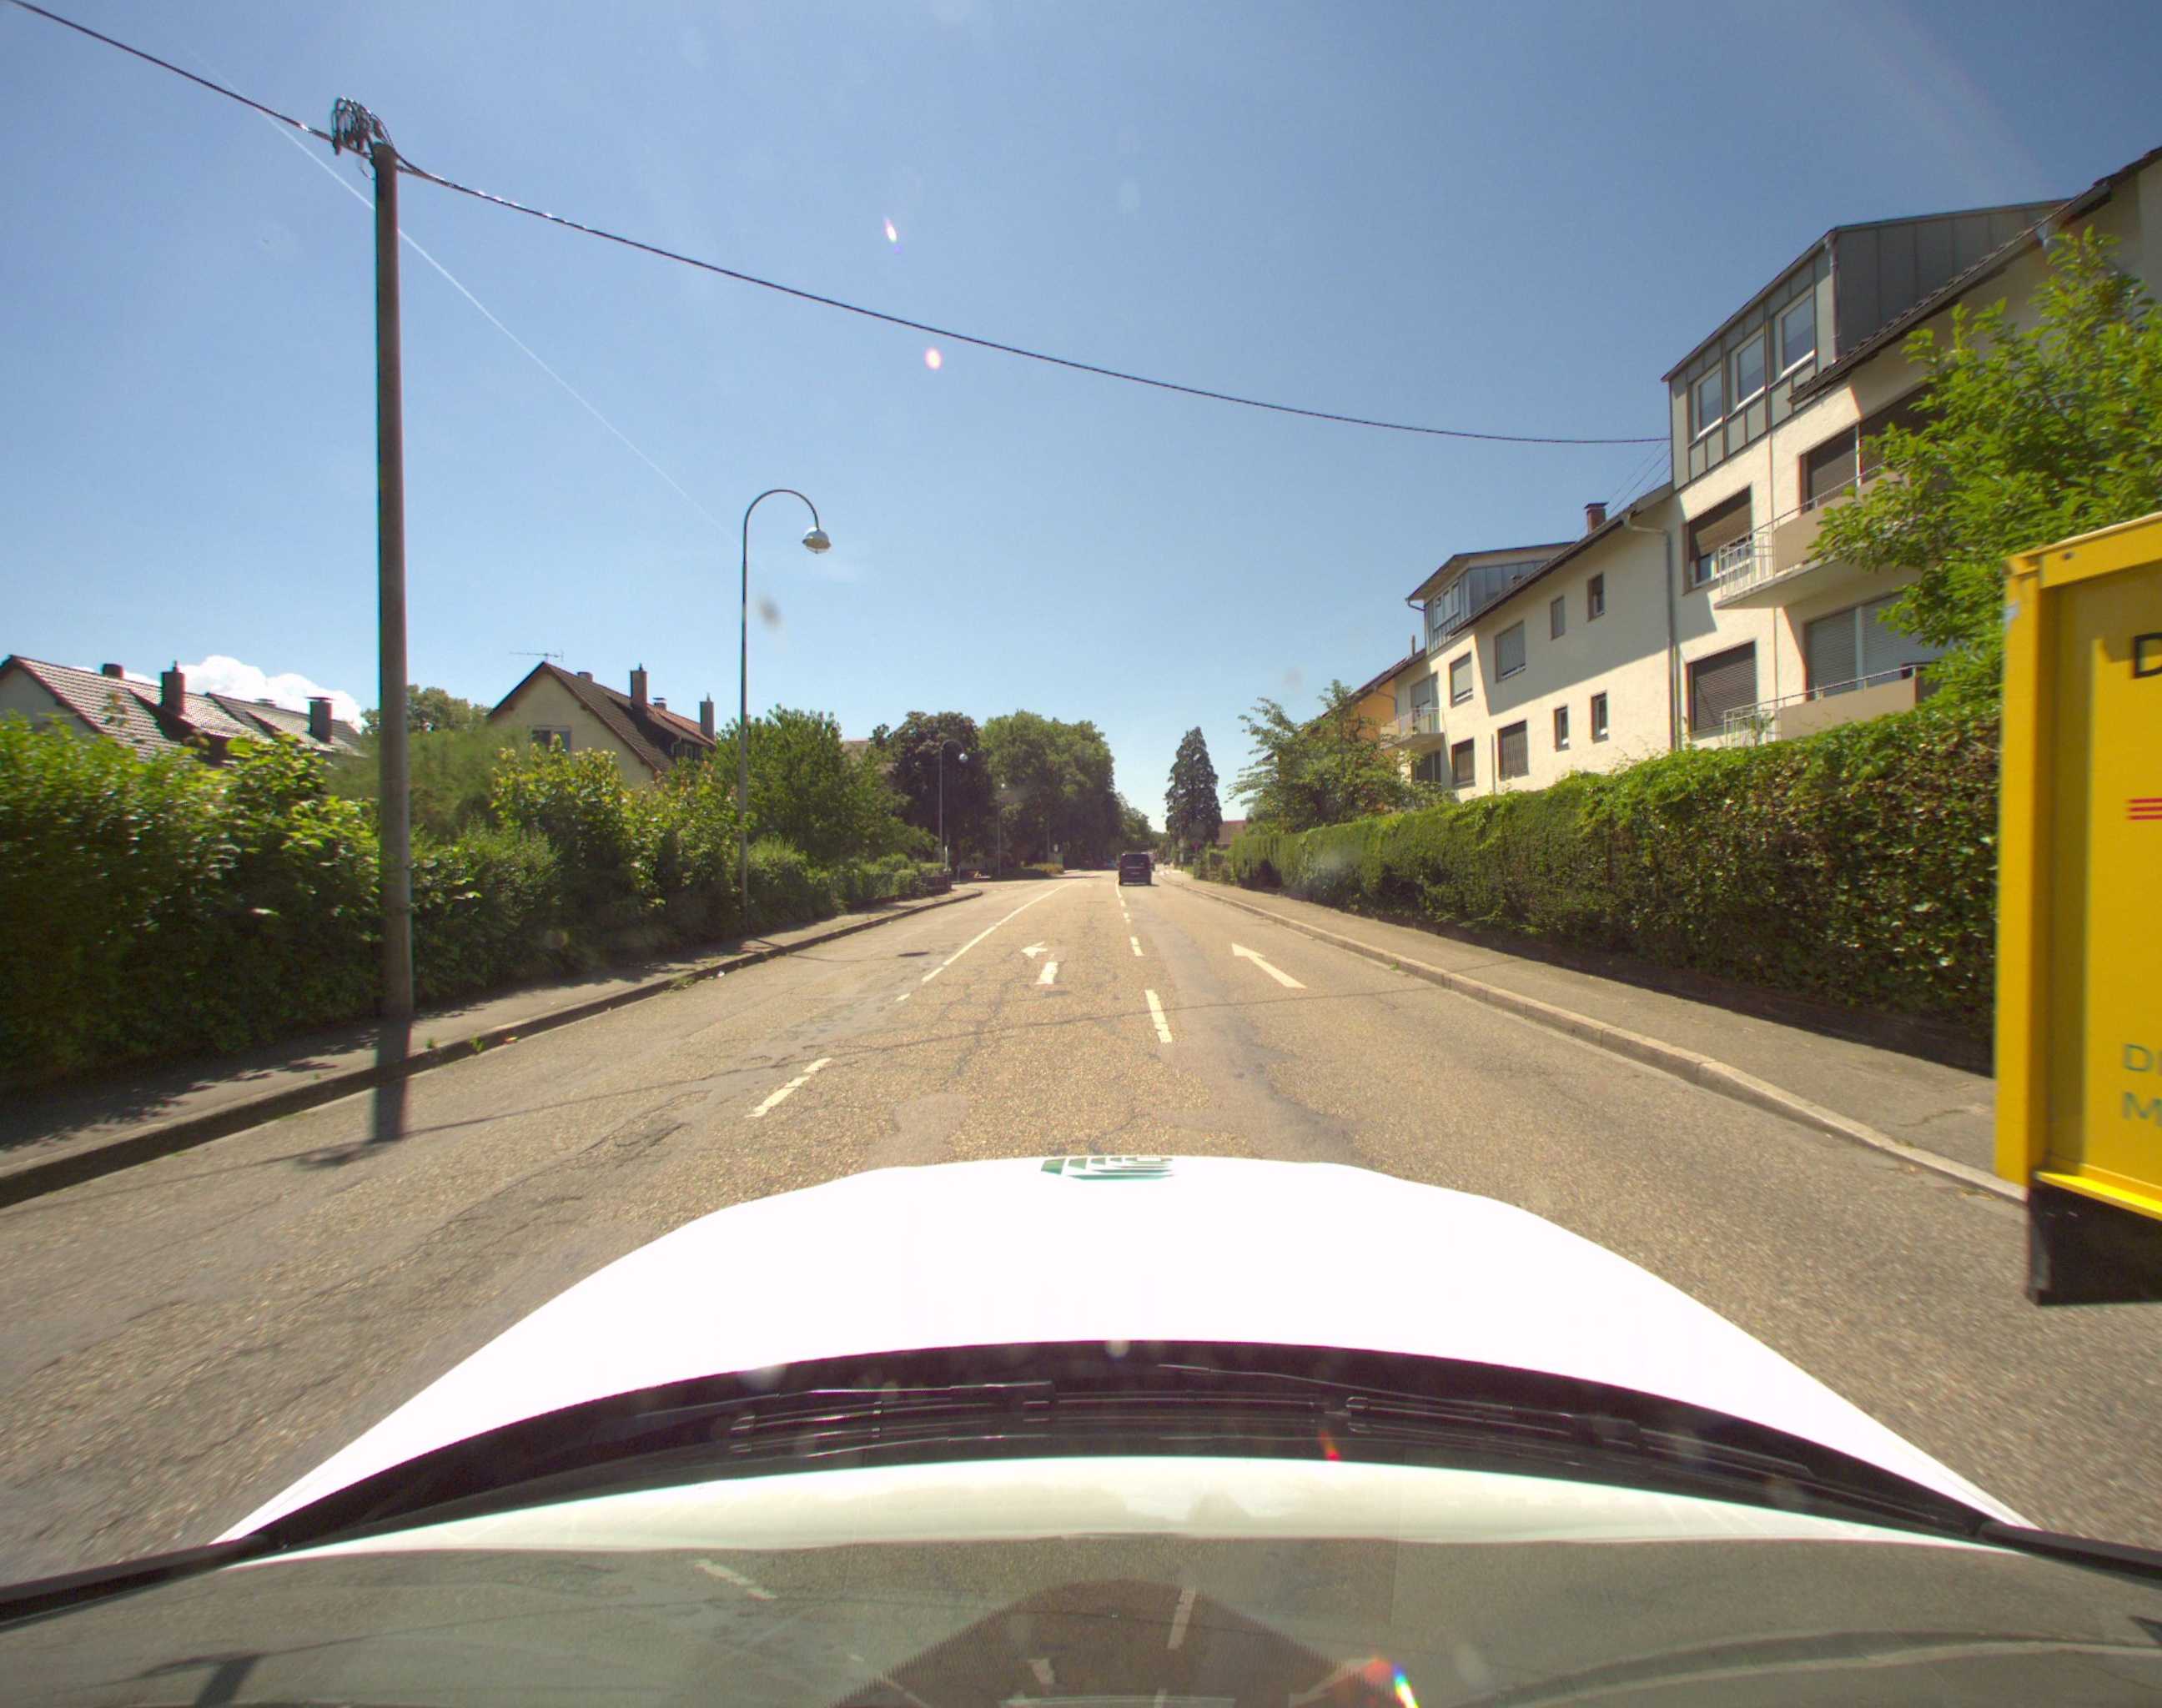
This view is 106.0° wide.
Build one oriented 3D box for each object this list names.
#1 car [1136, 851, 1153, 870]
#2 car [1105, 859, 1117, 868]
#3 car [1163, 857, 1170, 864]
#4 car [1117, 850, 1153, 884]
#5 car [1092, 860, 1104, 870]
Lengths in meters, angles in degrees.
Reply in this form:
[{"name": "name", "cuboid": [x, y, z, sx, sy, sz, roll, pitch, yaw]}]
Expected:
[{"name": "car", "cuboid": [8.929, 0.862, 114.770, 2.109, 2.678, 5.673, 0, 0, 7]}, {"name": "car", "cuboid": [4.999, 1.581, 135.235, 1.680, 1.460, 3.649, 0, 0, 9]}, {"name": "car", "cuboid": [23.711, 1.788, 225.946, 1.849, 1.643, 4.004, 0, 0, 4]}, {"name": "car", "cuboid": [3.148, 0.715, 47.208, 1.984, 1.893, 4.005, 0, 0, 4]}, {"name": "car", "cuboid": [2.699, 1.711, 128.092, 1.543, 1.450, 3.695, 0, -1, 5]}]
